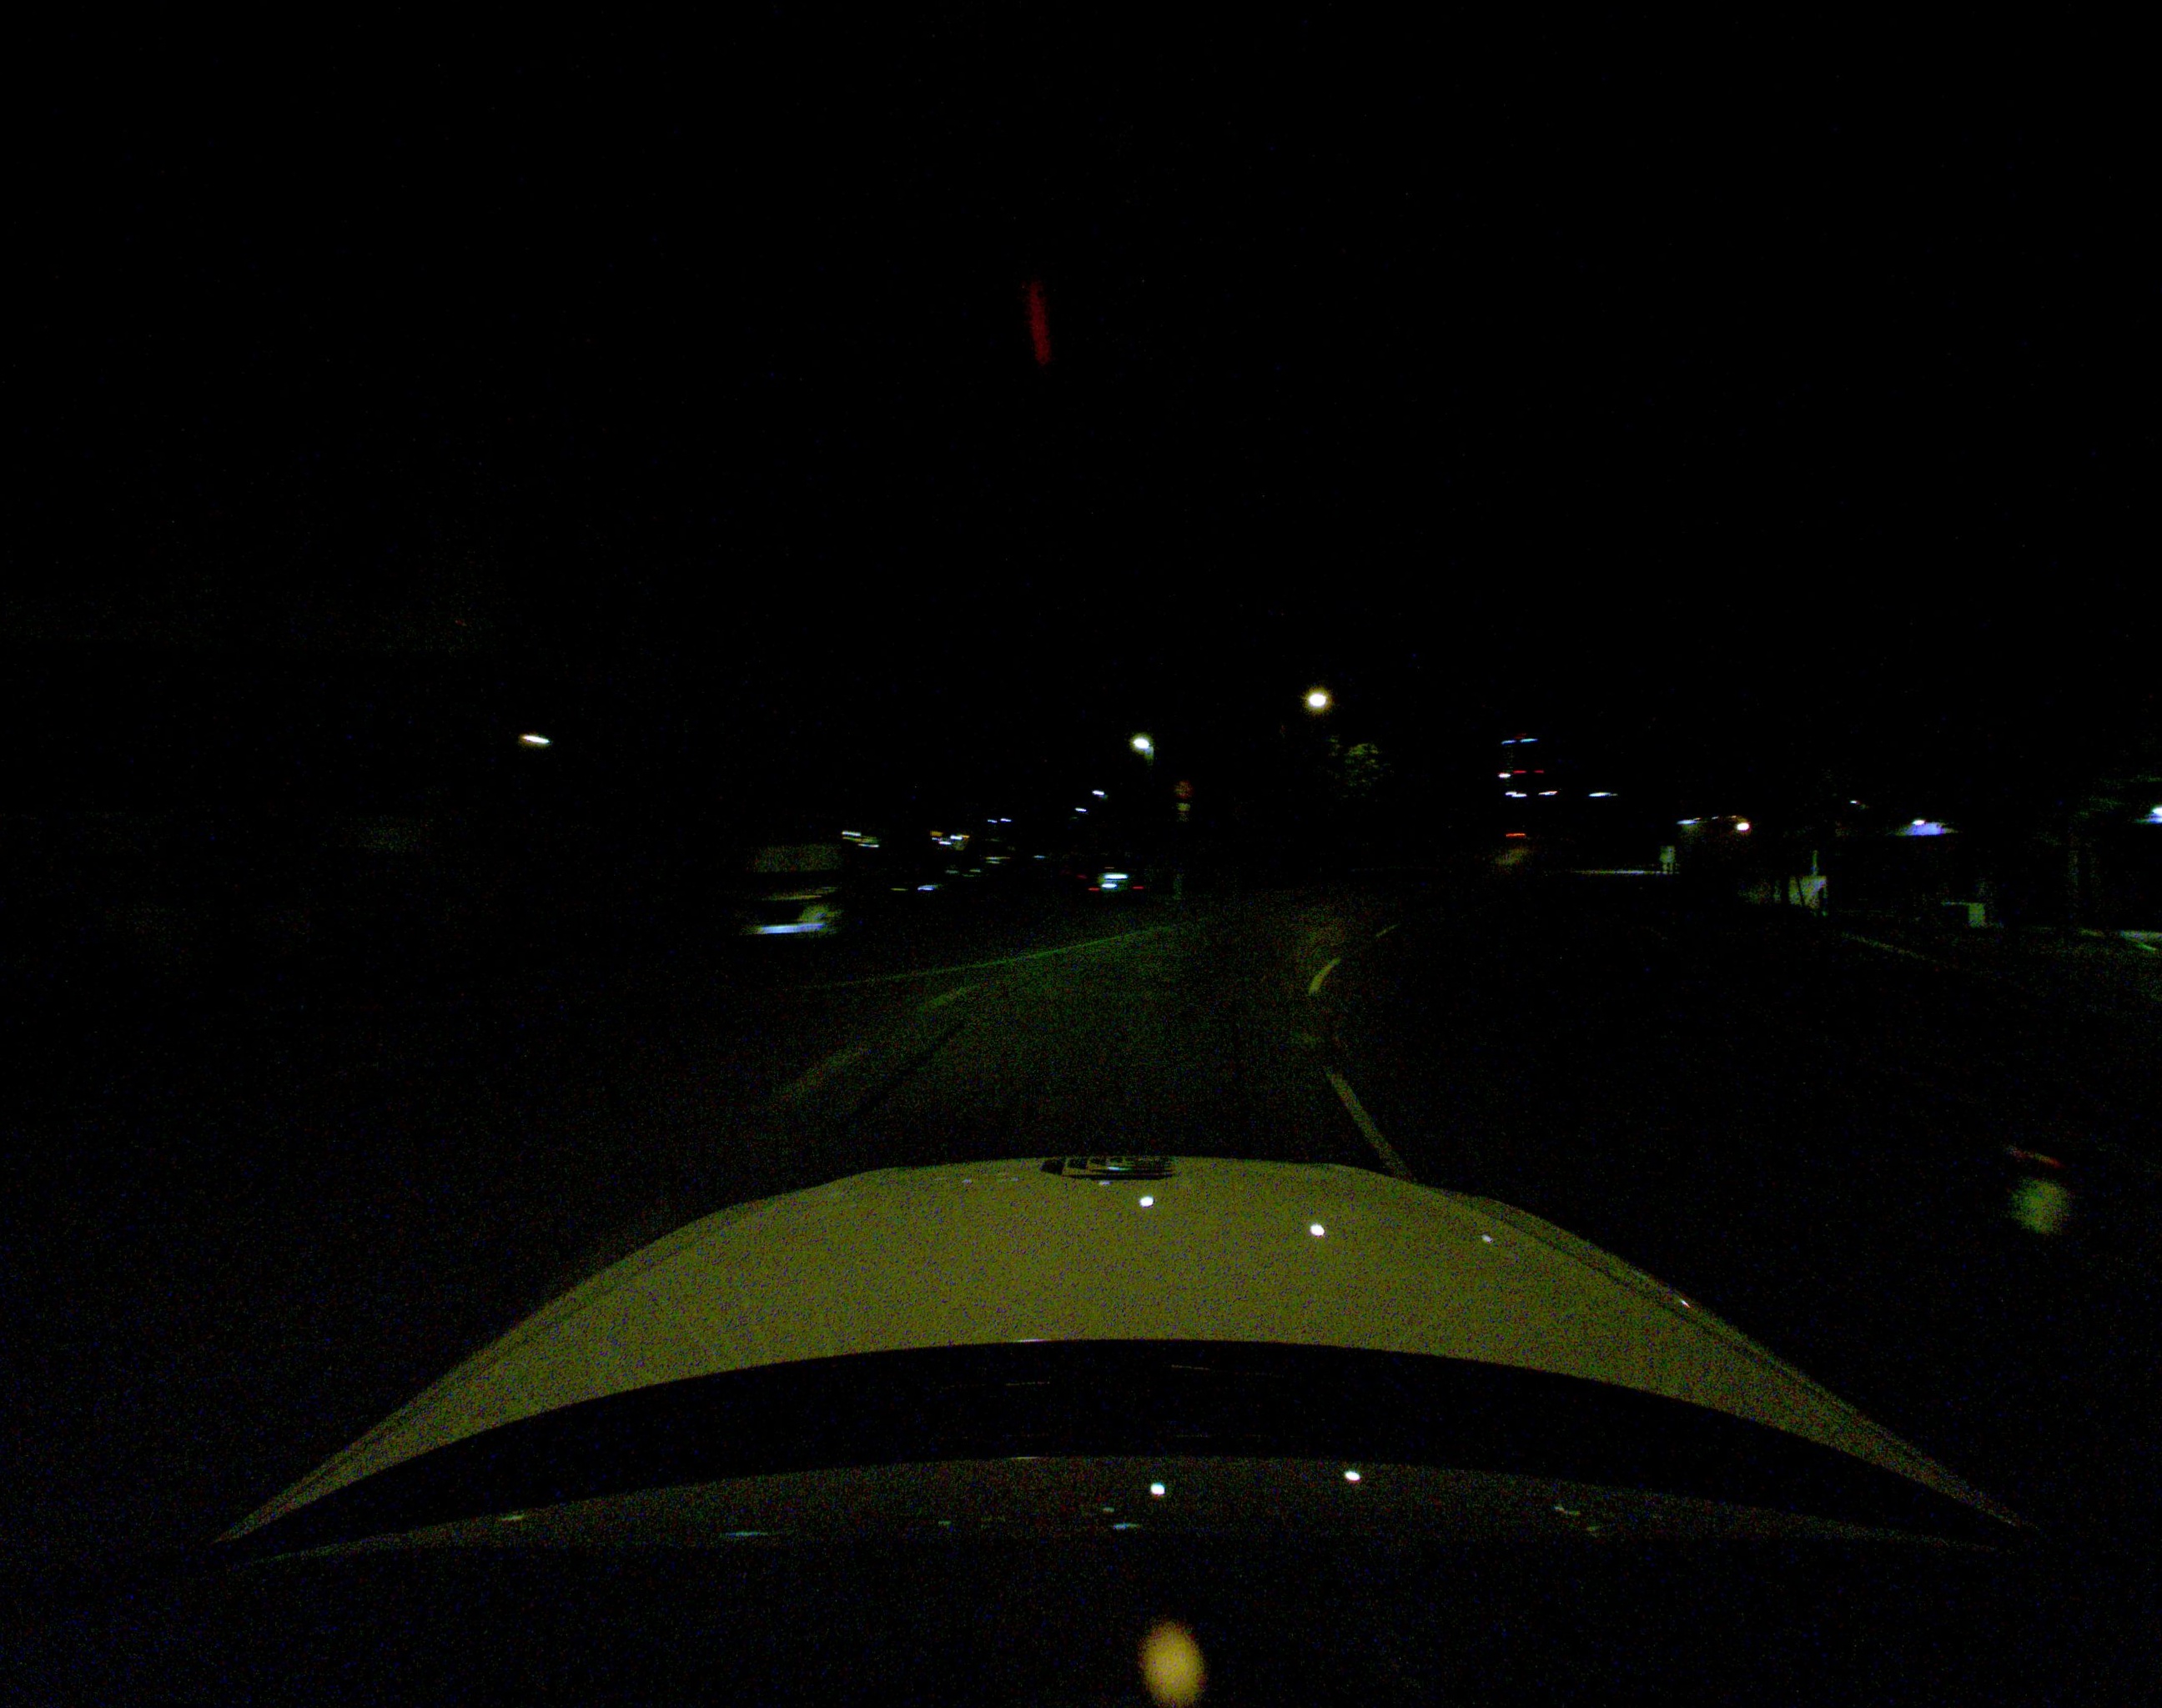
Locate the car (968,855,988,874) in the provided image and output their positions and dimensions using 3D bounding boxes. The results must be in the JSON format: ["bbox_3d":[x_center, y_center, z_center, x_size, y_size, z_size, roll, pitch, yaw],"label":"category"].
[{"bbox_3d":[-10.134,1.011,80.397,1.634,1.760,3.958,-1,-1,-3],"label":"car"}]

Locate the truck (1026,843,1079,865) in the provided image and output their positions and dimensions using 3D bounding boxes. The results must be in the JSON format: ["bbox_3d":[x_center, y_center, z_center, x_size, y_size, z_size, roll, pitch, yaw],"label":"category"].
[{"bbox_3d":[-3.660,-0.020,104.906,6.767,2.844,1.996,0,0,-6],"label":"truck"}]

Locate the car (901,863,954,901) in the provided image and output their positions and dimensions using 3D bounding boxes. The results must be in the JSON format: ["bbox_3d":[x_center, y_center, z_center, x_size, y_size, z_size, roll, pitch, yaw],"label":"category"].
[{"bbox_3d":[-6.085,1.073,32.635,1.689,1.398,4.071,-1,0,-5],"label":"car"}]

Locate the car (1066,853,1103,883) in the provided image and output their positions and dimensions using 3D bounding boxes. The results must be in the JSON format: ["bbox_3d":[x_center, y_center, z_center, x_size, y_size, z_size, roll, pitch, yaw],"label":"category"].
[{"bbox_3d":[0.172,0.831,50.704,2.035,1.694,4.877,-3,0,-2],"label":"car"}]

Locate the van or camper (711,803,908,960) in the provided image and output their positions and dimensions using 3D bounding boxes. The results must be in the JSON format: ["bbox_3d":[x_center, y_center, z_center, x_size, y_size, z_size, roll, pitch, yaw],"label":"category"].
[{"bbox_3d":[-5.239,0.471,16.846,2.153,2.535,6.219,-3,0,-3],"label":"van or camper"}]

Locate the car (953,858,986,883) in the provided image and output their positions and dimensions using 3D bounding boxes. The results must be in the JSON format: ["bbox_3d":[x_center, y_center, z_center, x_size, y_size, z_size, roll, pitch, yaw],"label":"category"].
[{"bbox_3d":[-6.827,1.004,50.138,1.701,1.510,4.094,0,-1,-3],"label":"car"}]

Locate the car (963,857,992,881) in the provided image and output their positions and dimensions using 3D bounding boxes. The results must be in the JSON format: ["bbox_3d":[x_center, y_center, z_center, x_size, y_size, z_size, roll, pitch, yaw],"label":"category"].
[{"bbox_3d":[-7.078,1.014,56.057,1.673,1.566,4.100,-1,-1,-3],"label":"car"}]

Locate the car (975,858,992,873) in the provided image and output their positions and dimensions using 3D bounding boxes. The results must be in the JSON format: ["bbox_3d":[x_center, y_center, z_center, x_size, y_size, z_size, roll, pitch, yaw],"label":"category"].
[{"bbox_3d":[-10.308,1.199,86.386,1.604,1.516,3.802,-1,-1,-4],"label":"car"}]

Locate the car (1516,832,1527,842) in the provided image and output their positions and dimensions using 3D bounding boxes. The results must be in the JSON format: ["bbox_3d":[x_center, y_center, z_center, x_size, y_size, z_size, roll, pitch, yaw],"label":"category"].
[{"bbox_3d":[91.546,-3.462,169.250,1.906,1.854,4.025,-1,-1,30],"label":"car"}]

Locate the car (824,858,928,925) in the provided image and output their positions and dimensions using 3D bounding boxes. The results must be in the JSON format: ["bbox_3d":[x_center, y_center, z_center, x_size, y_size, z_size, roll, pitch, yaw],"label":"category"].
[{"bbox_3d":[-5.489,0.929,22.369,1.887,1.591,4.369,-2,0,-3],"label":"car"}]

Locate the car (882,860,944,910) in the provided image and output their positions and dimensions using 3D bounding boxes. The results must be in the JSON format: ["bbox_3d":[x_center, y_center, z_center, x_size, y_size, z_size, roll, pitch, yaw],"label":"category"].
[{"bbox_3d":[-5.627,0.981,27.704,1.838,1.507,4.726,-1,0,-9],"label":"car"}]

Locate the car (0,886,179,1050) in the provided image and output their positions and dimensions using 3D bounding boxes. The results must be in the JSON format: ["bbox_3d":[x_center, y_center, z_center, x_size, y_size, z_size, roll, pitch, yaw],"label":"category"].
[{"bbox_3d":[-11.622,1.133,8.428,2.803,1.513,1.488,-1,-1,-3],"label":"car"}]

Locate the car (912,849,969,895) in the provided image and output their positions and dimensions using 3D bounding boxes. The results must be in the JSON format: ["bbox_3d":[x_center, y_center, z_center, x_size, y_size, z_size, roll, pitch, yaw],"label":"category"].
[{"bbox_3d":[-6.436,0.803,37.722,1.989,1.955,4.801,-1,0,-3],"label":"car"}]

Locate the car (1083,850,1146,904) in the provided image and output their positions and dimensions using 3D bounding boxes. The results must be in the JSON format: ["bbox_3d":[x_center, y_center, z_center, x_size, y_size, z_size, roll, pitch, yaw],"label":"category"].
[{"bbox_3d":[1.062,0.737,27.667,1.878,1.603,4.105,-2,0,-1],"label":"car"}]

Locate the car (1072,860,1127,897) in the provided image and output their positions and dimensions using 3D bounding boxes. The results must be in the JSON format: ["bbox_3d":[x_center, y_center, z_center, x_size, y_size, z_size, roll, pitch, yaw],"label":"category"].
[{"bbox_3d":[0.685,0.948,32.861,1.958,1.383,3.996,-1,-1,-2],"label":"car"}]

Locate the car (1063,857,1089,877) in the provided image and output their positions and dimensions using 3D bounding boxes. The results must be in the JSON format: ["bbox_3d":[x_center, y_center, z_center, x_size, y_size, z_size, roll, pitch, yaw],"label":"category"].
[{"bbox_3d":[-0.411,0.958,61.667,1.754,1.445,4.021,-1,0,-3],"label":"car"}]

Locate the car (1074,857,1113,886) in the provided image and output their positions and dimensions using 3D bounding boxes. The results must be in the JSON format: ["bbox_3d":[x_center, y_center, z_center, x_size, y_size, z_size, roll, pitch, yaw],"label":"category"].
[{"bbox_3d":[0.638,0.916,45.163,1.875,1.415,4.469,-3,0,-2],"label":"car"}]
